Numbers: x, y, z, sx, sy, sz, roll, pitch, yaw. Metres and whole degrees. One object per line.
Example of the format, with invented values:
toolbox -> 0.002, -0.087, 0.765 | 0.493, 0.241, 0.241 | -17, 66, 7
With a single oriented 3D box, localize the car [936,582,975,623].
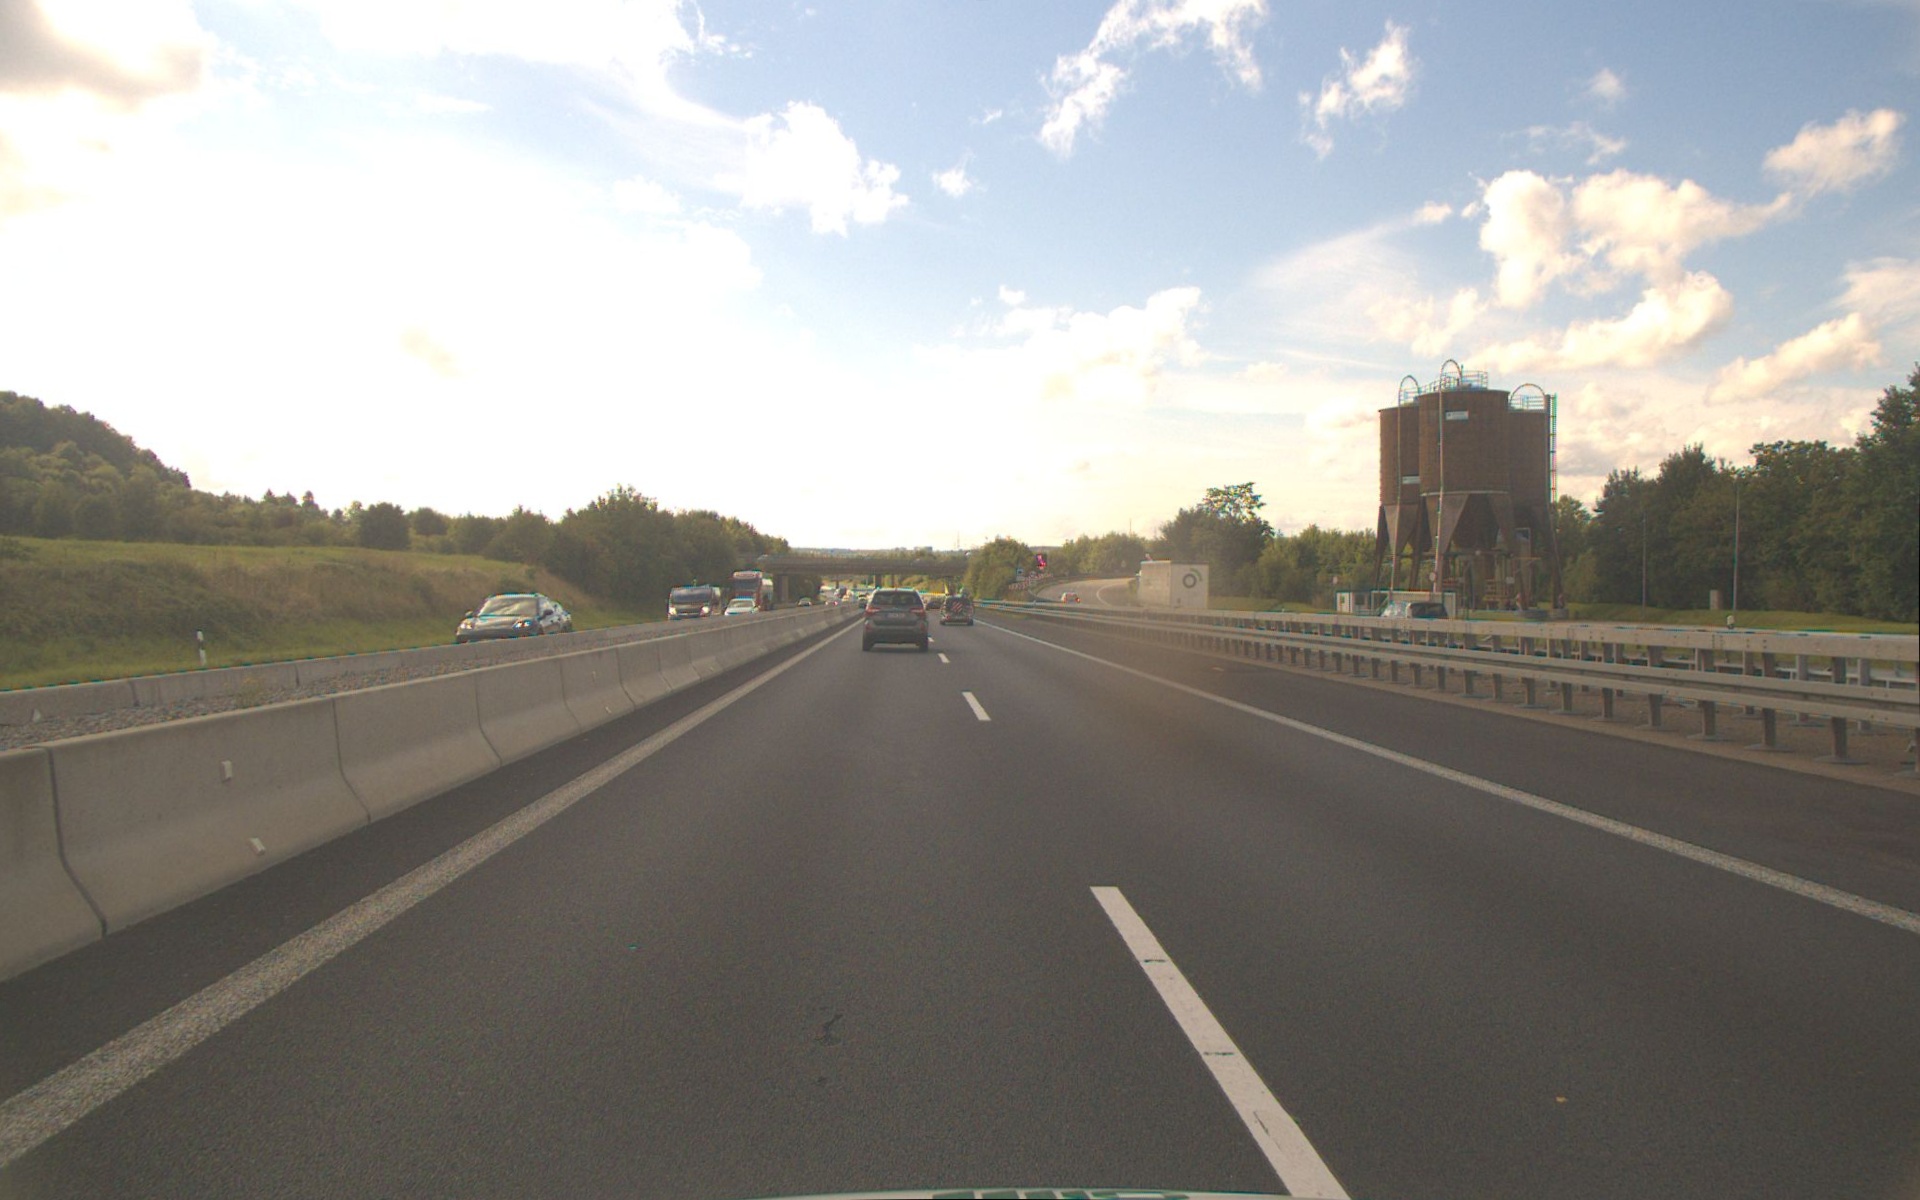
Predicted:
car -> -0.291, 0.132, 90.272 | 1.953, 2.117, 3.998 | -2, 0, -2

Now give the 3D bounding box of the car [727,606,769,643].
car -> -12.354, 1.410, 96.581 | 1.953, 2.049, 4.676 | 0, 0, -1

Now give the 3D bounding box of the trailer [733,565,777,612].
trailer -> -18.427, -0.995, 149.237 | 2.658, 3.955, 11.158 | -2, 0, -1

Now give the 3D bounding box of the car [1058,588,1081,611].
car -> 10.241, -0.070, 154.434 | 1.952, 2.049, 4.001 | -2, 0, 2

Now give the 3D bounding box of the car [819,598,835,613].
car -> -17.309, 0.677, 215.887 | 1.771, 1.864, 4.395 | -2, 0, -1

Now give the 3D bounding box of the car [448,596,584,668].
car -> -10.813, 0.741, 40.726 | 1.953, 1.600, 5.364 | -2, 0, -1

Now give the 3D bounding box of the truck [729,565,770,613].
truck -> -18.374, -0.937, 144.501 | 2.682, 3.993, 6.899 | -2, 0, -1

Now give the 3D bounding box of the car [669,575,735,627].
car -> -10.839, 0.060, 69.835 | 1.953, 2.049, 5.839 | -2, 0, -1

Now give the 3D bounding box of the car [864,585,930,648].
car -> -1.728, 0.448, 46.524 | 1.714, 1.659, 3.608 | -2, 0, -1

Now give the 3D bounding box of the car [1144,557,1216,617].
car -> 14.661, -0.838, 110.869 | 3.504, 3.741, 7.546 | -2, 0, -2

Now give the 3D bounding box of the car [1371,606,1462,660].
car -> 16.004, 1.129, 58.205 | 1.953, 1.747, 3.998 | -2, 0, -2

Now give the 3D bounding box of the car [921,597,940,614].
car -> -3.286, 0.645, 181.982 | 1.935, 1.810, 4.118 | -2, 0, -2
